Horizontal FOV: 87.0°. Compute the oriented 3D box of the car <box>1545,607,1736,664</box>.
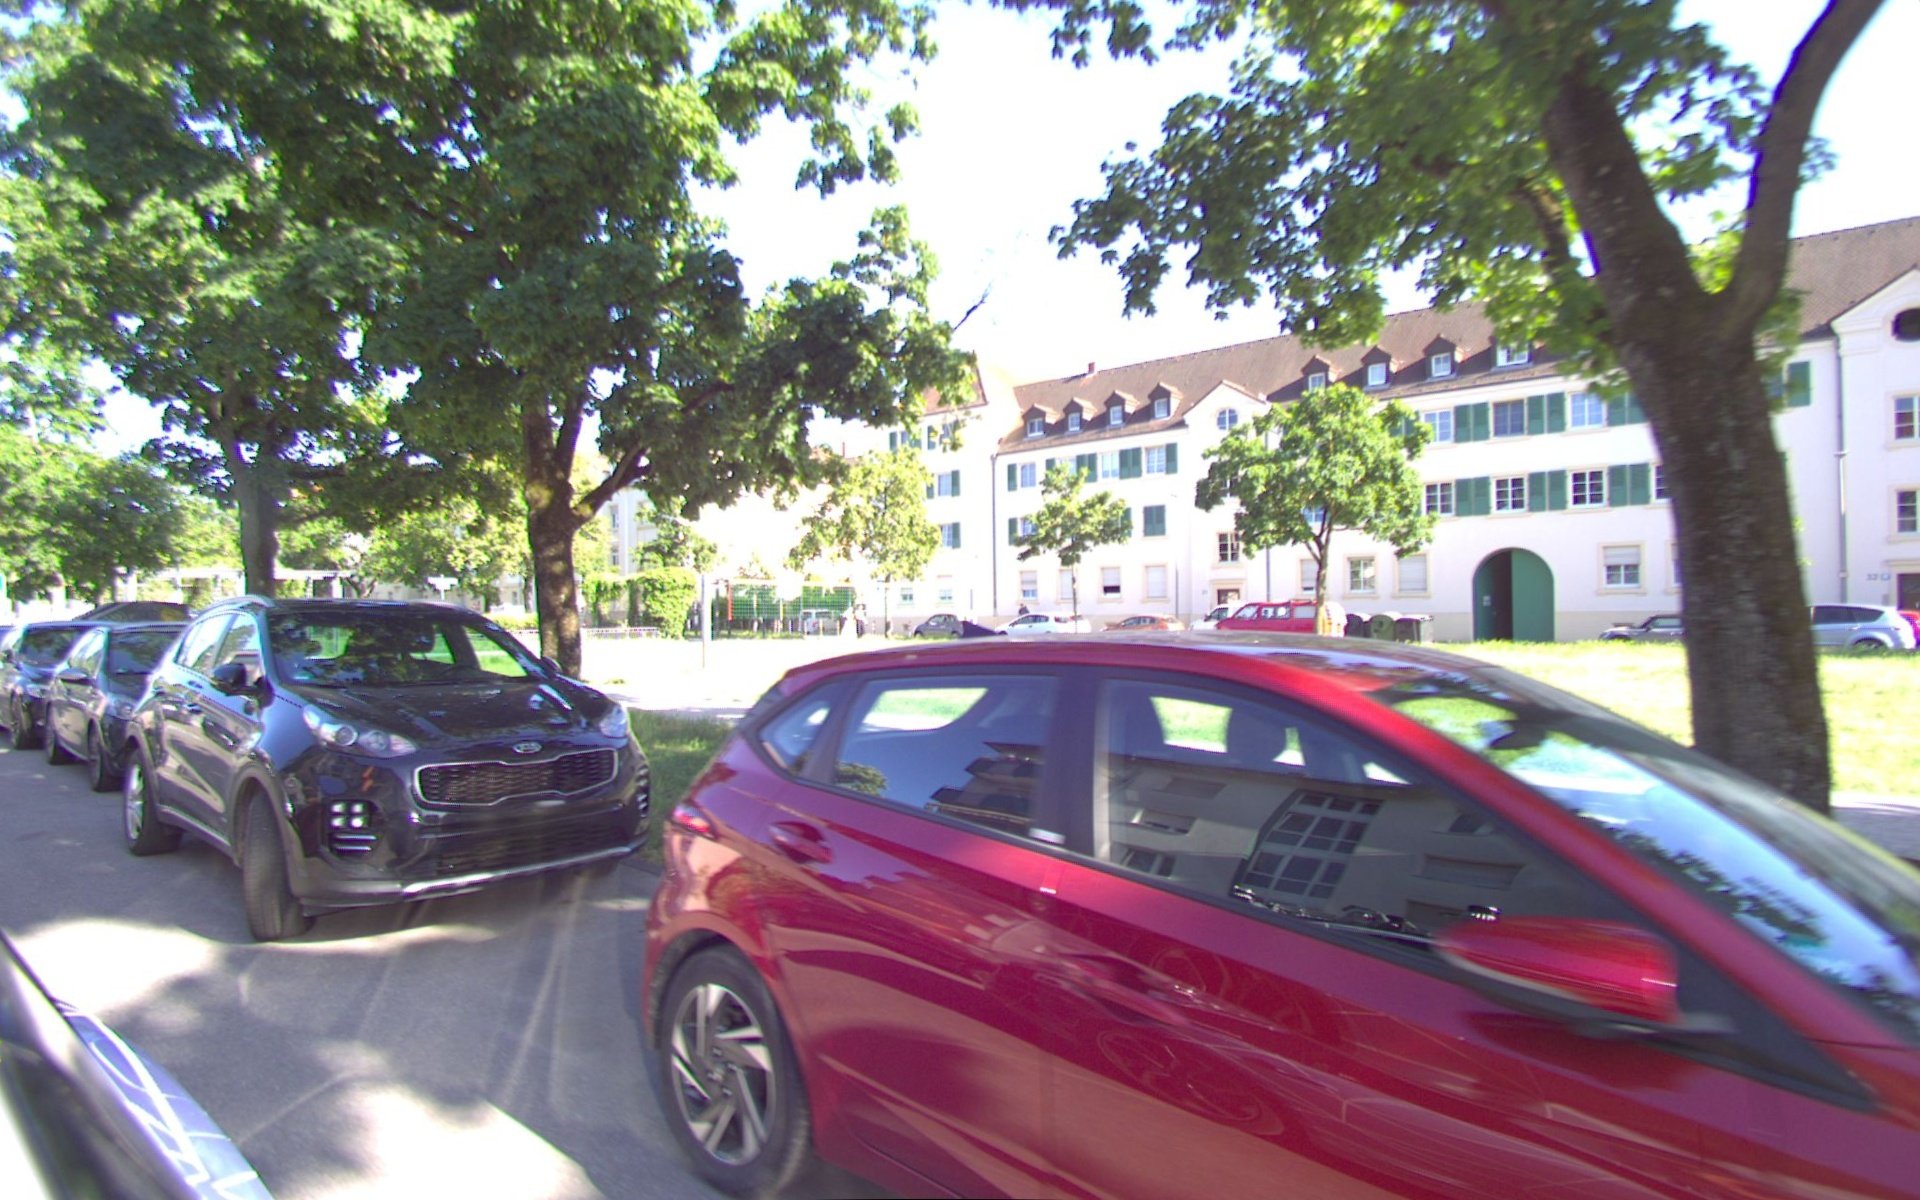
[{"bbox_3d":[23.748,1.218,35.445,5.256,1.834,2.424,-1,-1,42],"label":"car"}]

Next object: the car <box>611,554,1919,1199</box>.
[{"bbox_3d":[1.030,0.683,2.111,4.086,1.439,1.522,-1,-1,42],"label":"car"}]

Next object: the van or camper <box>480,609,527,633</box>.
[{"bbox_3d":[-40.493,1.835,89.715,4.372,2.029,2.244,-1,0,41],"label":"van or camper"}]

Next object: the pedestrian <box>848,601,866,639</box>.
[{"bbox_3d":[-4.690,0.923,46.066,0.537,1.698,0.674,0,-1,-45],"label":"pedestrian"}]

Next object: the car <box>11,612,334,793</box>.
[{"bbox_3d":[-7.937,0.851,10.085,3.802,1.429,1.860,0,-1,41],"label":"car"}]

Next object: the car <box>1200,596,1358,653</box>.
[{"bbox_3d":[11.977,0.921,38.254,5.254,1.999,2.198,-1,-1,40],"label":"car"}]

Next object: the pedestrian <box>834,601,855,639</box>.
[{"bbox_3d":[-5.200,0.910,45.505,0.750,1.698,0.537,-2,-1,42],"label":"pedestrian"}]

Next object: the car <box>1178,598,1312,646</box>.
[{"bbox_3d":[12.537,0.955,44.724,5.251,1.999,2.199,-1,-1,38],"label":"car"}]

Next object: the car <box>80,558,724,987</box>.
[{"bbox_3d":[-3.692,0.724,6.229,4.755,1.638,2.004,-1,-2,42],"label":"car"}]

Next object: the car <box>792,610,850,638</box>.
[{"bbox_3d":[-10.053,1.726,73.253,2.042,1.970,3.763,-1,-1,42],"label":"car"}]

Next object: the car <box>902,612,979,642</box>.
[{"bbox_3d":[-0.964,1.291,48.662,3.511,1.343,1.633,-1,-1,40],"label":"car"}]

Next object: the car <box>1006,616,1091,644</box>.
[{"bbox_3d":[4.471,1.523,51.475,3.996,1.366,1.751,-1,-1,40],"label":"car"}]

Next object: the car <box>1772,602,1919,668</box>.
[{"bbox_3d":[28.121,1.064,31.669,4.162,1.919,2.241,-1,-1,39],"label":"car"}]

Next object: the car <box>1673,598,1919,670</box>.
[{"bbox_3d":[23.486,0.915,28.405,5.452,1.834,2.424,-1,-1,42],"label":"car"}]

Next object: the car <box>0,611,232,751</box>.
[{"bbox_3d":[-11.723,0.955,13.446,5.151,1.528,1.974,-1,-2,38],"label":"car"}]

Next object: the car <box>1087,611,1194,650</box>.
[{"bbox_3d":[8.530,1.435,48.073,4.638,1.777,1.974,-1,-1,38],"label":"car"}]

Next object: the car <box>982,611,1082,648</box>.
[{"bbox_3d":[3.207,1.307,45.317,4.231,1.595,1.771,-1,-1,40],"label":"car"}]

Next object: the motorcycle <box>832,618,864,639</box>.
[{"bbox_3d":[-7.252,1.818,65.350,2.142,1.315,0.807,-1,-1,39],"label":"motorcycle"}]

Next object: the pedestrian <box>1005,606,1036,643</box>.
[{"bbox_3d":[3.328,1.316,55.301,1.161,1.978,1.328,-1,-1,35],"label":"pedestrian"}]

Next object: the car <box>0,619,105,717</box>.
[{"bbox_3d":[-16.148,1.066,16.992,4.962,1.463,1.817,-1,-1,39],"label":"car"}]
